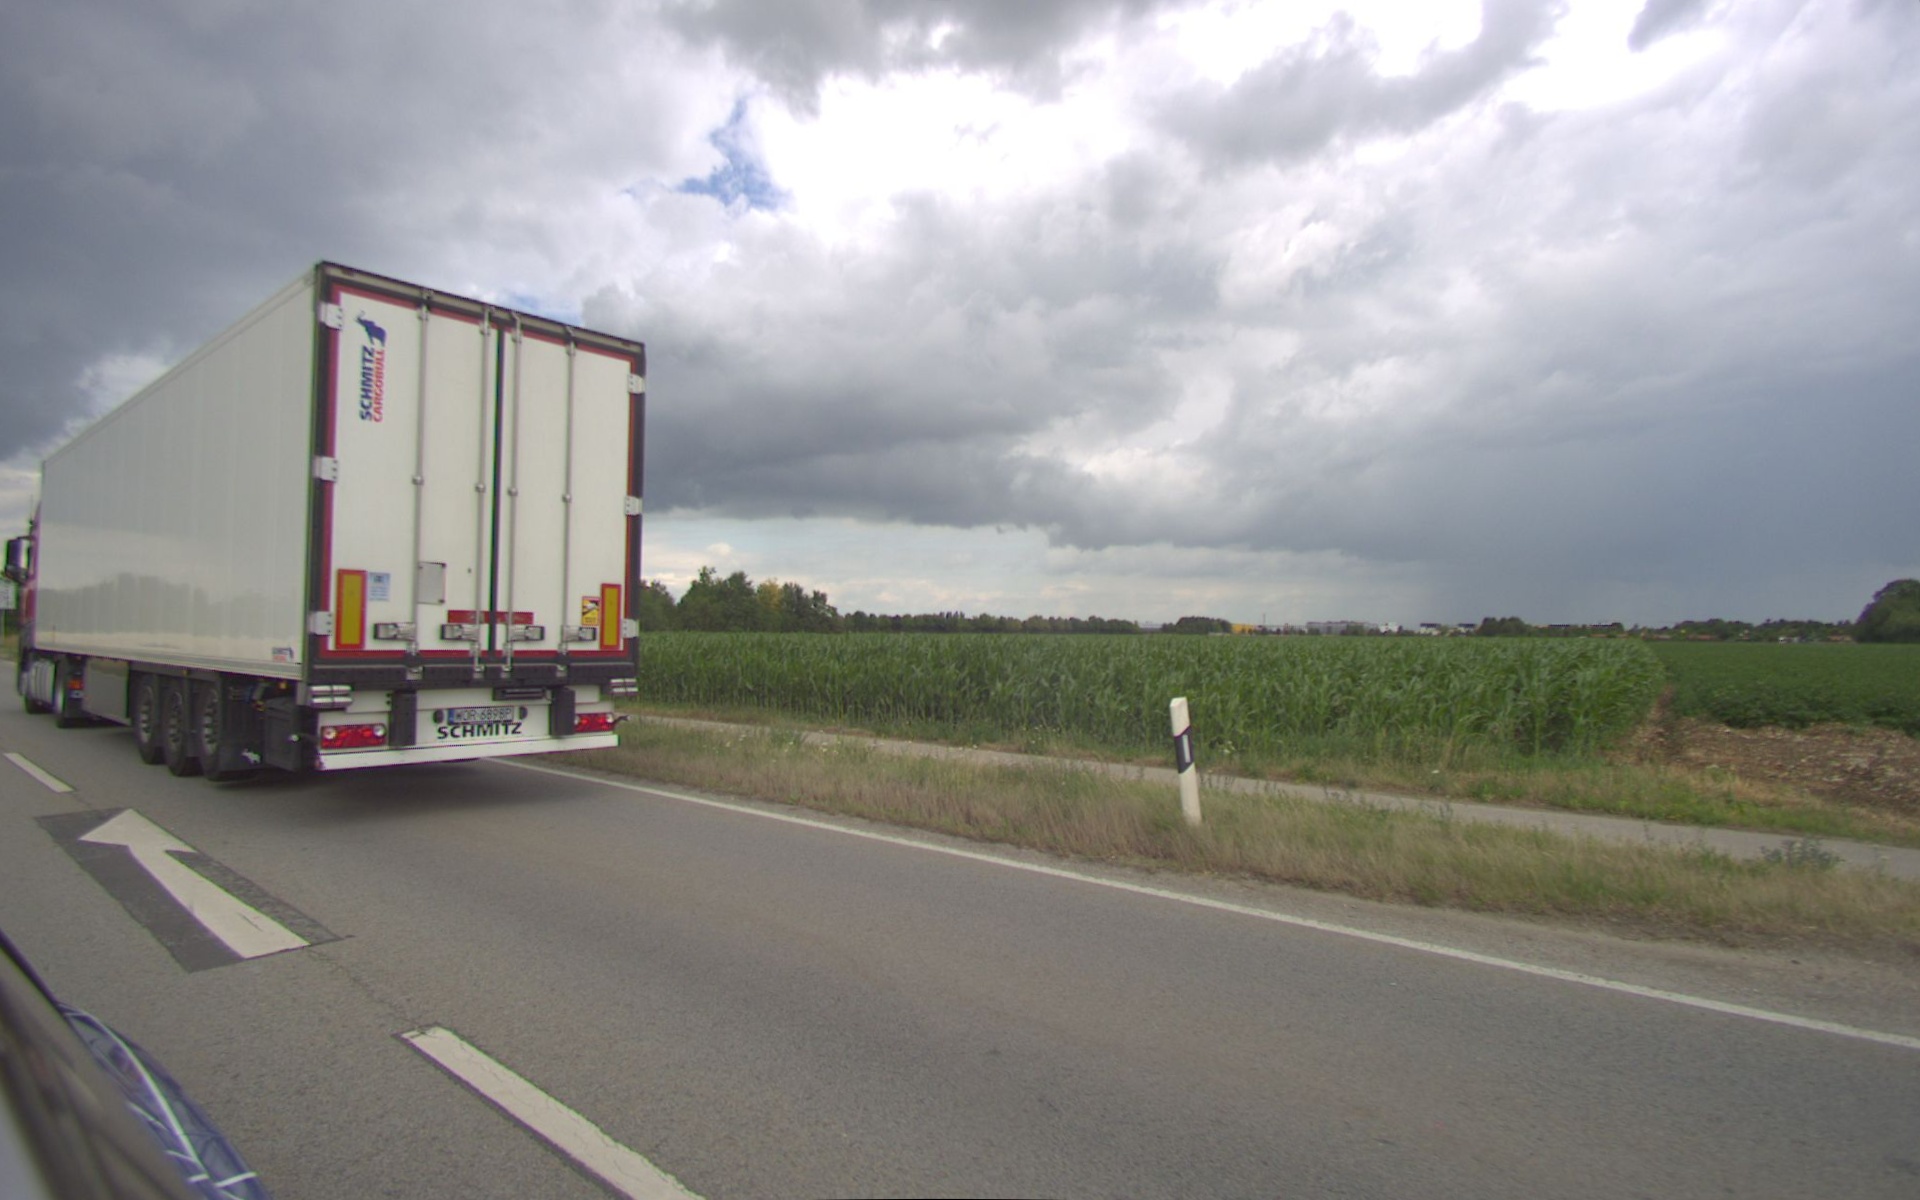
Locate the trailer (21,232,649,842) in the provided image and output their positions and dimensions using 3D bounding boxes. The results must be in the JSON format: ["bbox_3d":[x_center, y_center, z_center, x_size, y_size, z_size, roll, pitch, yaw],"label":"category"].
[{"bbox_3d":[-8.758,-0.307,12.419,13.761,4.152,2.606,-1,-3,41],"label":"trailer"}]

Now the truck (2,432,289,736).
[{"bbox_3d":[-13.636,-0.145,16.782,6.020,4.152,2.624,-1,-3,41],"label":"truck"}]
